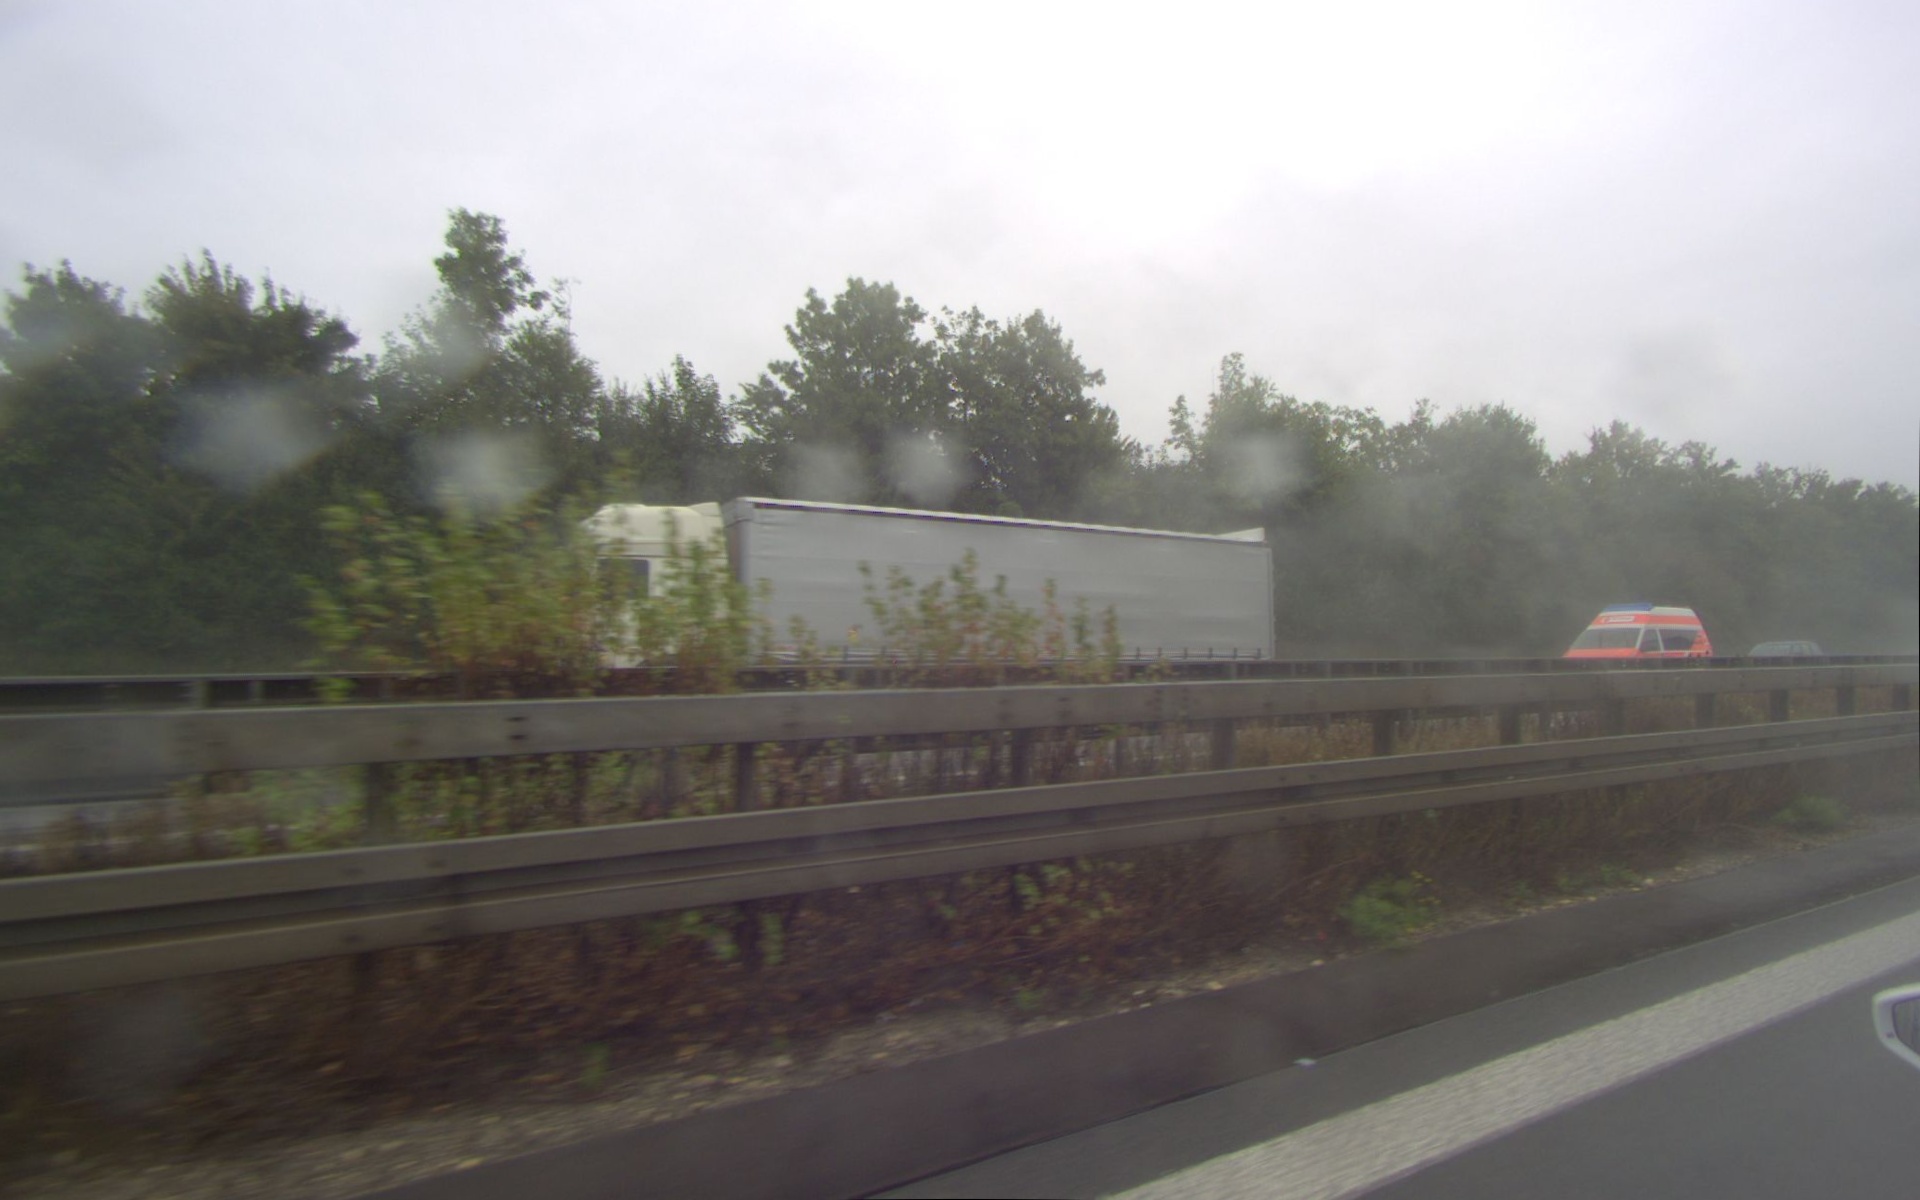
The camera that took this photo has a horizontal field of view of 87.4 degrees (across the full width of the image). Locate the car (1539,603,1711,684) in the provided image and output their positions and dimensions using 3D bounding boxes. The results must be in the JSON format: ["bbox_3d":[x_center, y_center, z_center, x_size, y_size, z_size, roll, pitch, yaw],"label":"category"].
[{"bbox_3d":[18.026,1.106,27.168,4.957,2.012,1.983,0,0,-31],"label":"car"}]

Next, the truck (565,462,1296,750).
[{"bbox_3d":[0.474,0.152,22.177,16.903,4.737,2.950,0,0,-31],"label":"truck"}]
